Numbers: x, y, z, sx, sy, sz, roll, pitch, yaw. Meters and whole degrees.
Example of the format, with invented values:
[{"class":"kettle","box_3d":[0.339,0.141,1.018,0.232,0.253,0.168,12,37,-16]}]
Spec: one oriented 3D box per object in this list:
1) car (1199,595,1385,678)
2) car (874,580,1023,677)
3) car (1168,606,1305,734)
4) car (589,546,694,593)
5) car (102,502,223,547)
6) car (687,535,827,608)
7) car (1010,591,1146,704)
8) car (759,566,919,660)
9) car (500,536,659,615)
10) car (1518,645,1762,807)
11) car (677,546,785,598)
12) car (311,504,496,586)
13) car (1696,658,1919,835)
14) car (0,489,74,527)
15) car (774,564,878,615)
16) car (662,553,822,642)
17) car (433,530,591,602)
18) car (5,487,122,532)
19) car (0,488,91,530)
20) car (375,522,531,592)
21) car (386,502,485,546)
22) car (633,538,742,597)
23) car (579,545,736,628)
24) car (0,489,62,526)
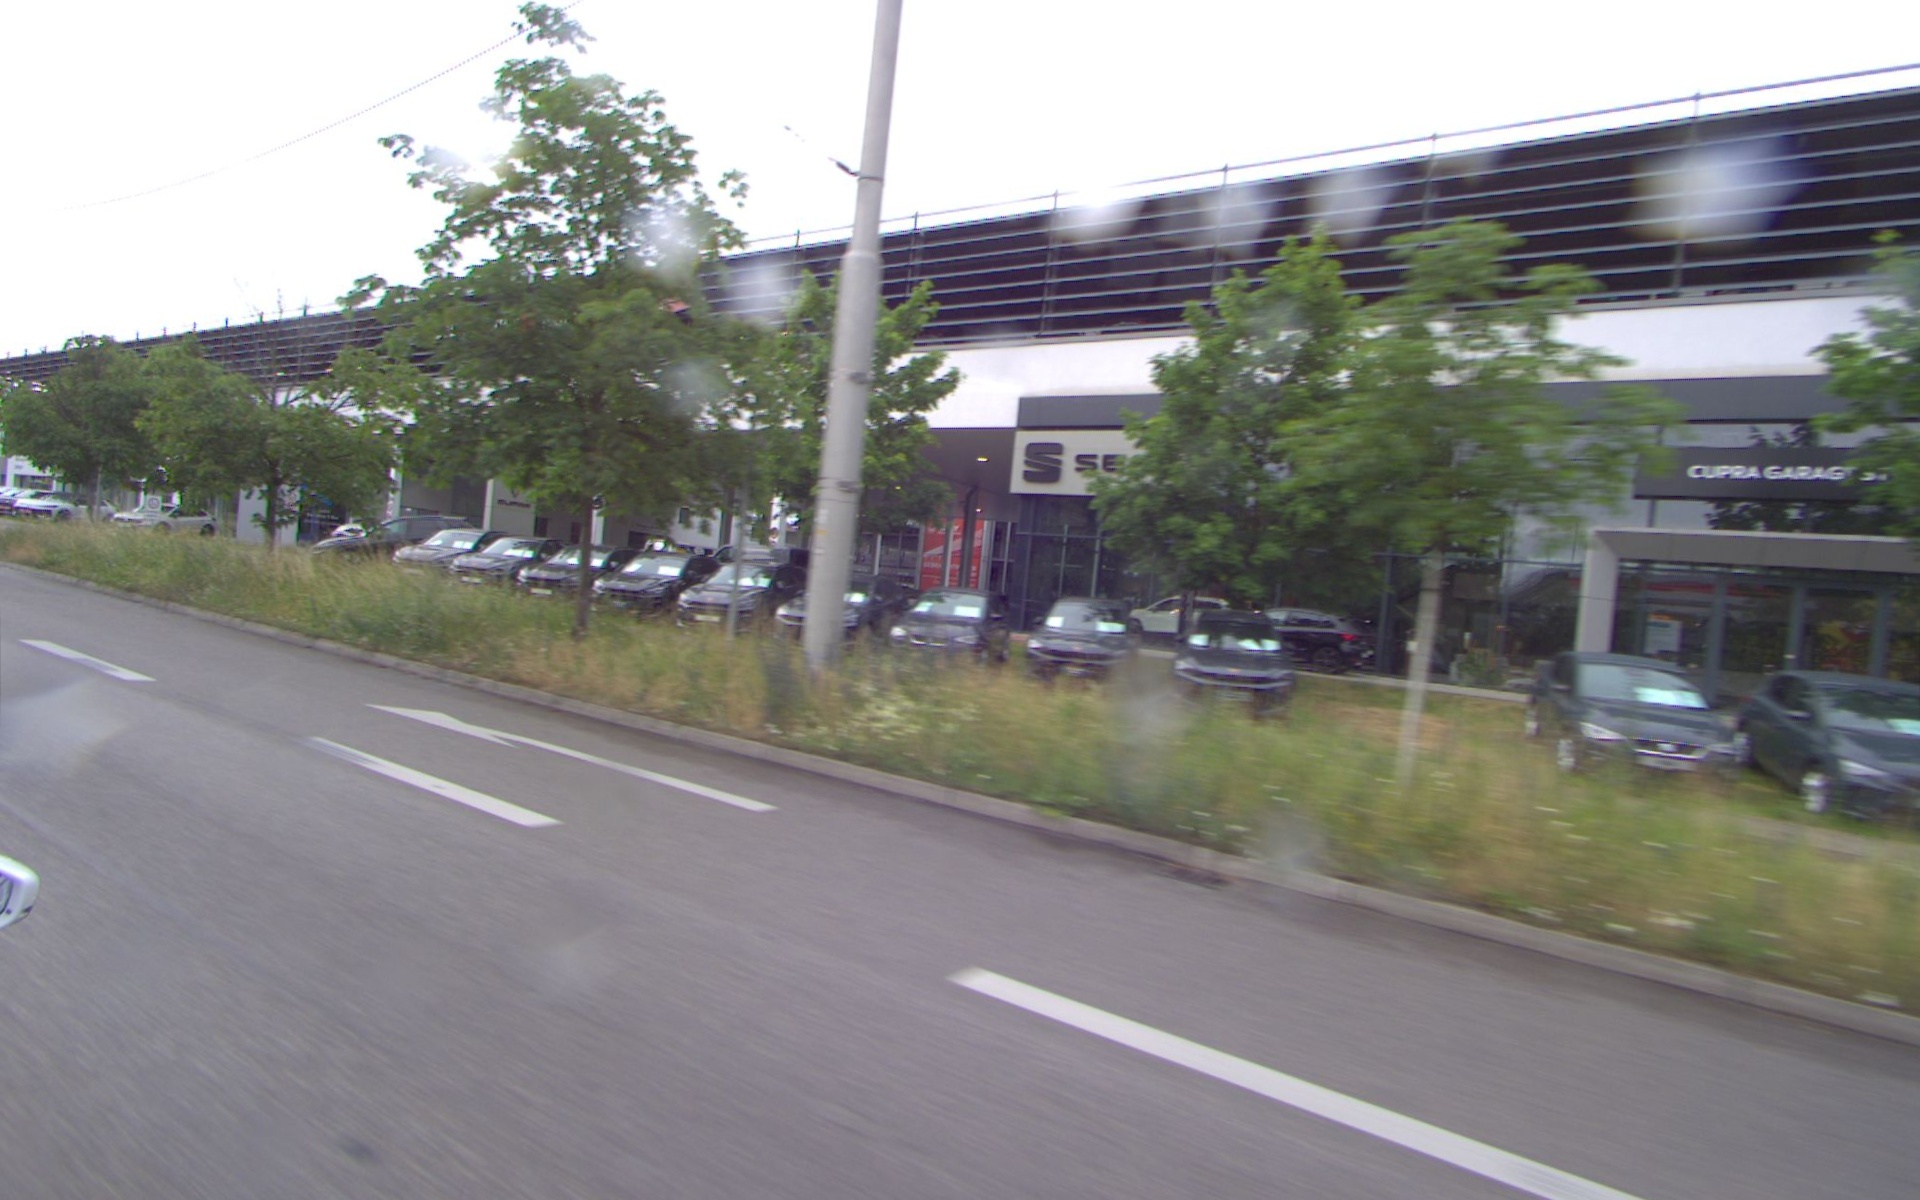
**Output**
[{"class":"car","box_3d":[7.910,0.856,24.072,3.834,1.491,1.667,7,0,32]},{"class":"car","box_3d":[-0.088,0.491,19.043,1.759,1.477,4.151,6,1,13]},{"class":"car","box_3d":[4.304,0.986,16.033,1.700,1.597,4.056,6,1,13]},{"class":"car","box_3d":[-13.677,-1.297,43.392,1.874,1.556,3.990,6,0,32]},{"class":"car","box_3d":[-32.988,-3.089,41.762,1.715,1.484,4.098,5,1,0]},{"class":"car","box_3d":[-6.857,-0.976,33.895,4.356,1.963,1.888,7,1,32]},{"class":"car","box_3d":[2.176,0.739,17.528,1.759,1.554,4.151,6,1,13]},{"class":"car","box_3d":[-2.305,0.251,20.422,1.796,1.548,4.151,6,1,13]},{"class":"car","box_3d":[-9.287,-0.554,24.939,1.792,1.625,4.152,6,1,8]},{"class":"car","box_3d":[8.694,1.487,13.263,1.656,1.521,4.053,6,1,21]},{"class":"car","box_3d":[-9.149,-1.093,40.527,1.874,1.652,3.990,6,0,32]},{"class":"car","box_3d":[-16.680,-1.622,30.233,4.673,1.901,1.808,5,2,-34]},{"class":"car","box_3d":[10.830,1.669,12.221,1.788,1.589,4.496,6,1,21]},{"class":"car","box_3d":[-47.262,-4.652,50.552,1.766,1.589,4.187,5,1,-2]},{"class":"car","box_3d":[-5.024,-0.356,38.264,1.695,1.532,4.037,6,0,30]},{"class":"car","box_3d":[-4.607,-0.049,21.939,1.873,1.590,4.152,6,1,10]},{"class":"car","box_3d":[-11.652,-0.831,26.480,1.834,1.582,4.151,6,1,7]},{"class":"car","box_3d":[-41.055,-4.098,46.191,1.766,1.589,4.096,5,1,-3]},{"class":"car","box_3d":[-44.353,-4.366,48.394,1.767,1.589,4.183,5,1,-7]},{"class":"car","box_3d":[-13.991,-1.118,28.087,1.834,1.633,4.334,6,1,4]},{"class":"car","box_3d":[-26.673,-3.852,51.295,1.758,1.525,3.993,6,-3,35]},{"class":"car","box_3d":[-11.298,-1.316,41.991,1.913,2.000,4.030,6,0,32]},{"class":"car","box_3d":[-6.896,-0.291,23.408,1.792,1.590,4.152,6,1,8]},{"class":"car","box_3d":[-49.876,-4.917,52.531,1.821,1.647,4.354,5,1,3]}]
